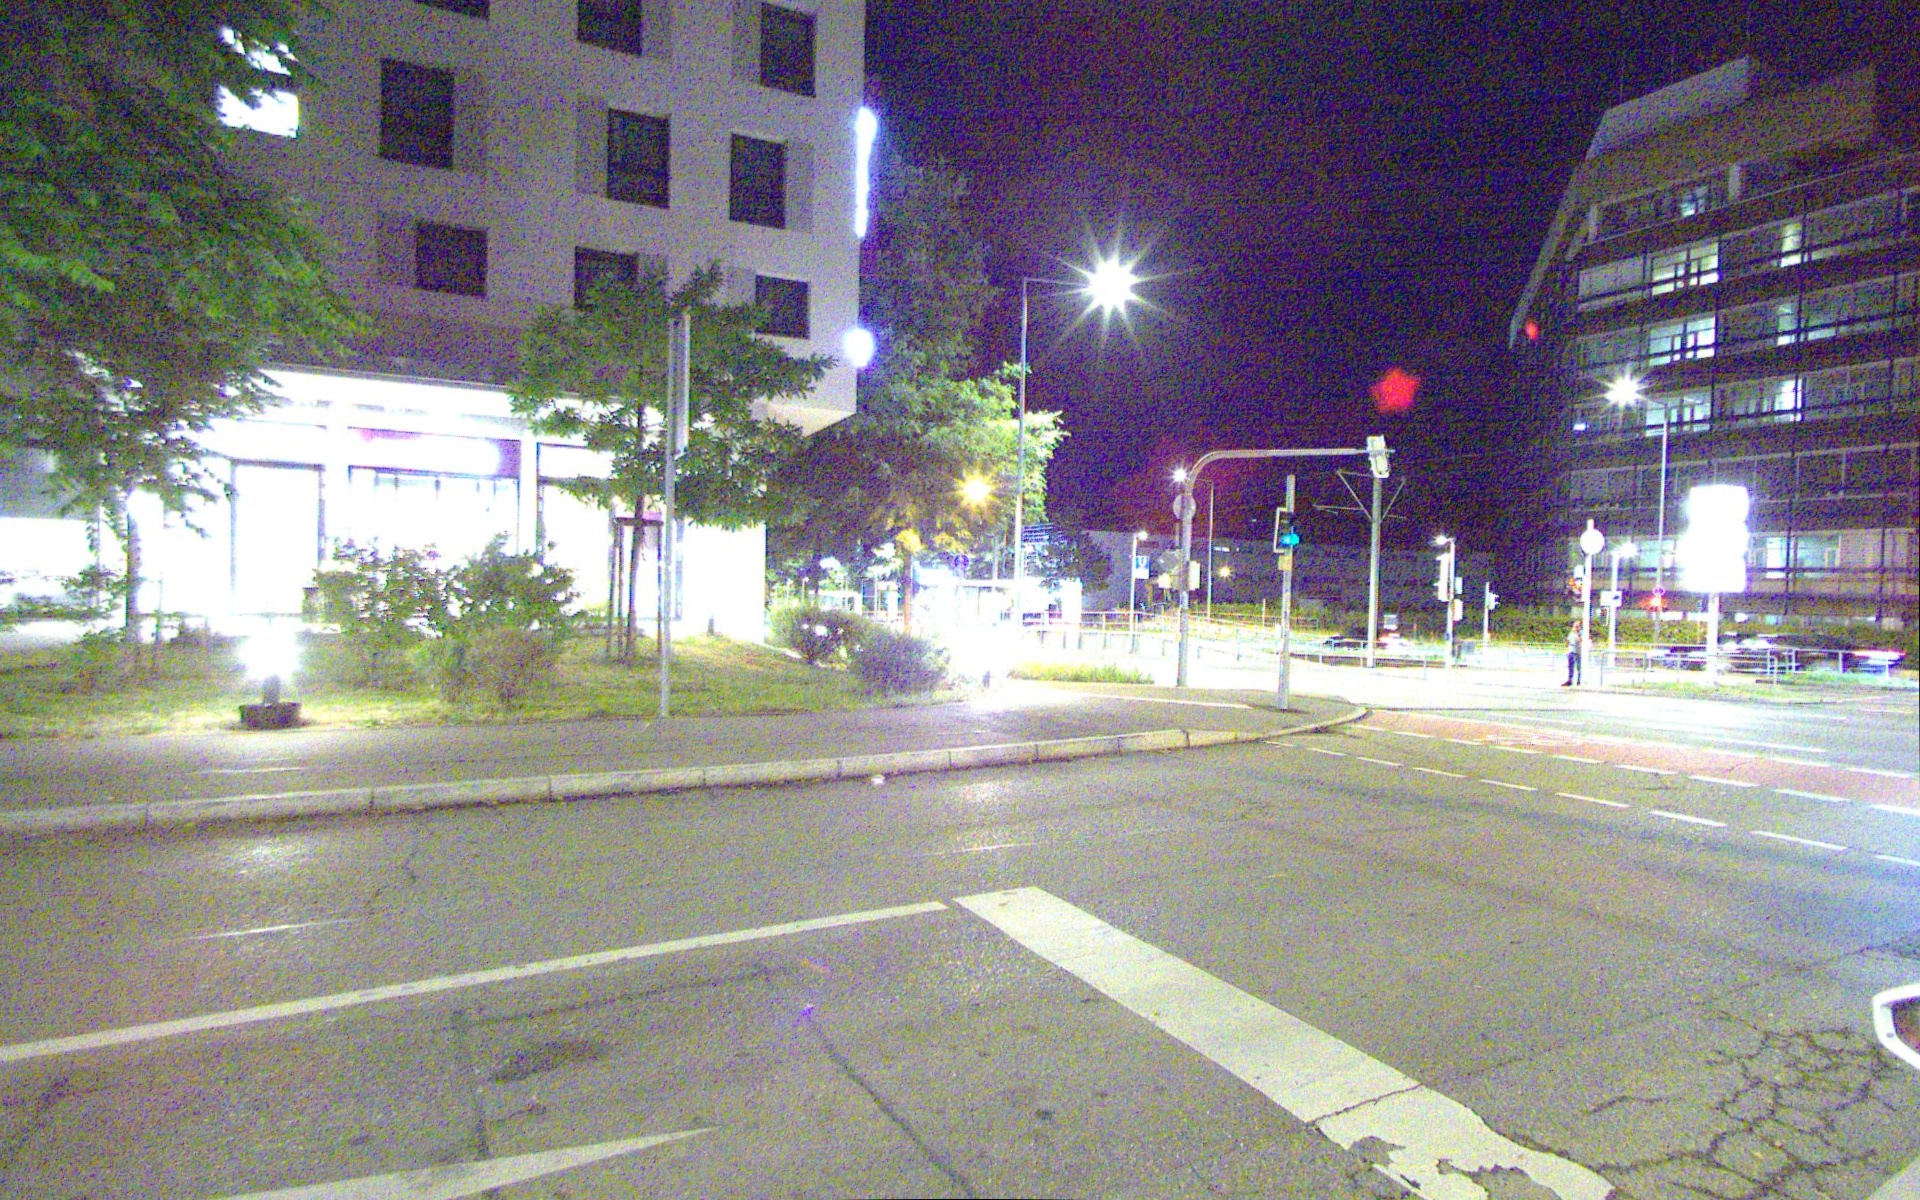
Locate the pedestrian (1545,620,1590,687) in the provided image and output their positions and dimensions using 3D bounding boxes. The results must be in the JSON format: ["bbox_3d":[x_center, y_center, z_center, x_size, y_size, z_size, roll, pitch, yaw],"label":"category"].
[{"bbox_3d":[15.528,1.361,25.675,0.854,1.656,0.665,2,1,-34],"label":"pedestrian"}]

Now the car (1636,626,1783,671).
[{"bbox_3d":[27.870,1.778,37.482,1.843,1.405,3.969,3,0,-29],"label":"car"}]

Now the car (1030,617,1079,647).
[{"bbox_3d":[7.121,2.411,76.378,1.973,2.040,3.976,2,0,-24],"label":"car"}]

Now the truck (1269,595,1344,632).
[{"bbox_3d":[30.816,1.166,89.501,2.877,3.129,5.873,2,0,-28],"label":"truck"}]

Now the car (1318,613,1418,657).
[{"bbox_3d":[19.333,1.628,47.804,1.820,1.837,4.134,2,0,-29],"label":"car"}]

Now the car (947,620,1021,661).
[{"bbox_3d":[1.014,1.767,45.139,1.848,1.705,4.275,0,-1,-22],"label":"car"}]

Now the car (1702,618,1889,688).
[{"bbox_3d":[26.810,1.658,32.390,1.974,2.001,4.168,2,0,-26],"label":"car"}]
